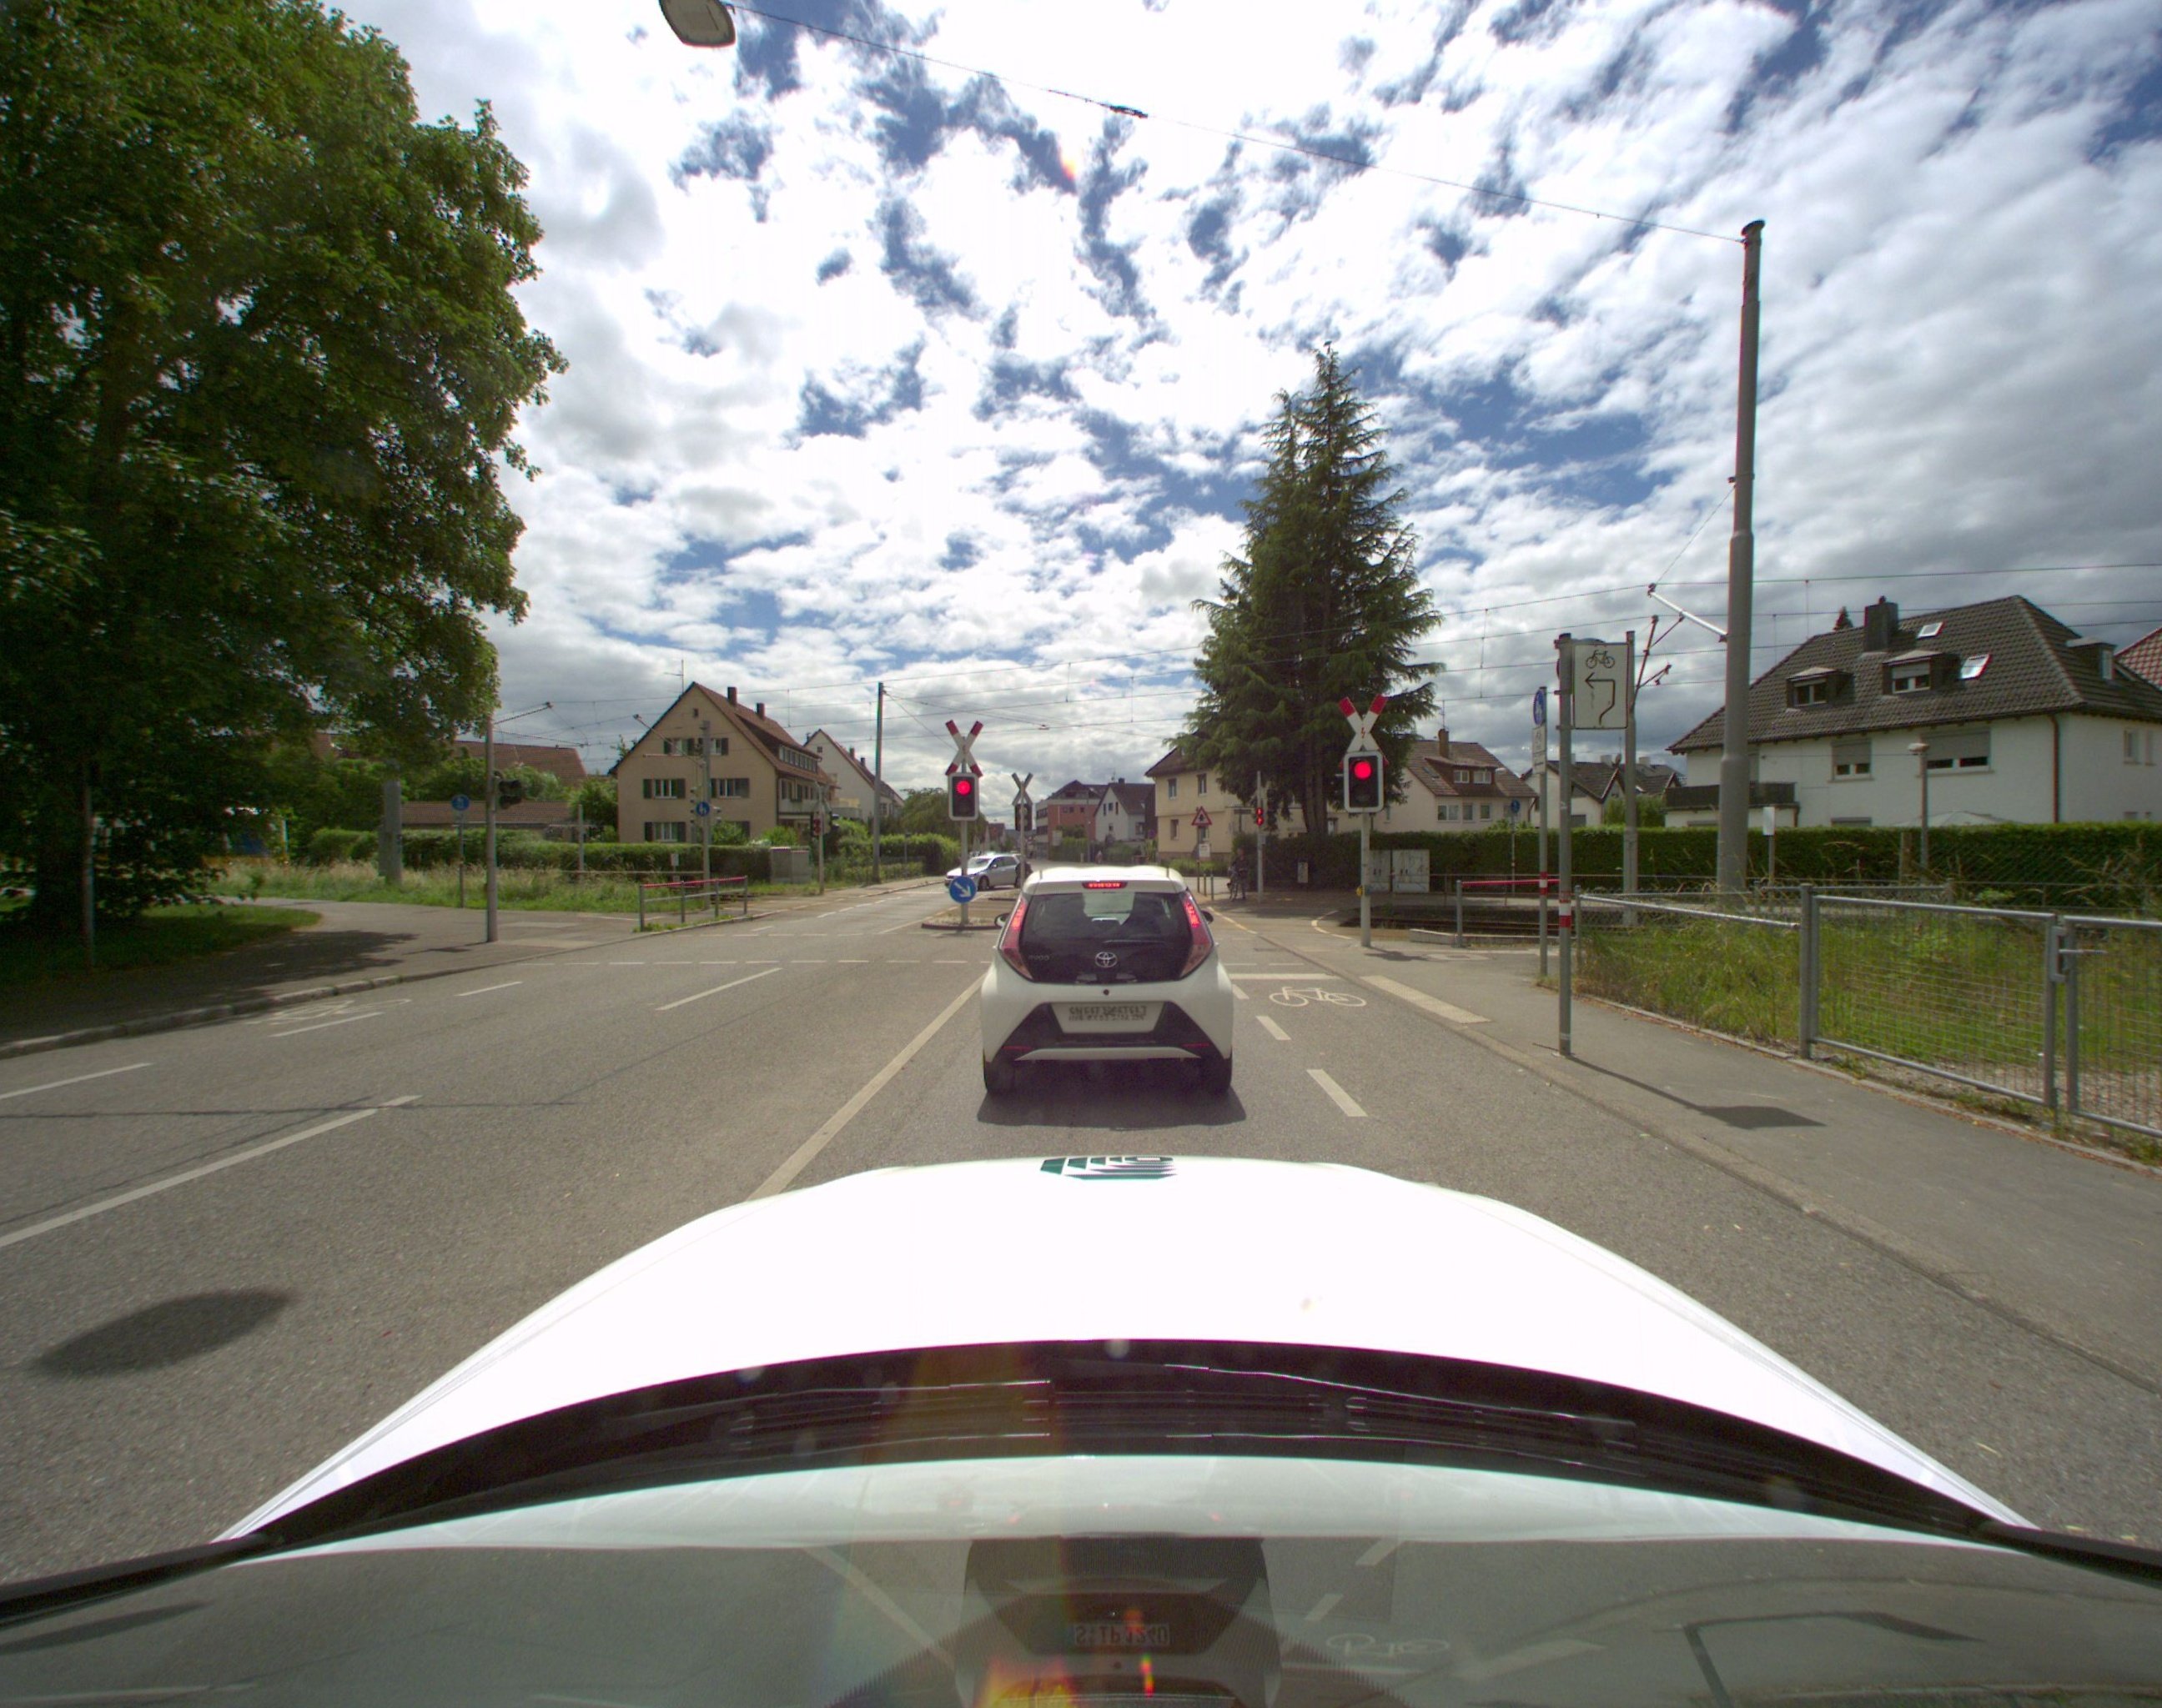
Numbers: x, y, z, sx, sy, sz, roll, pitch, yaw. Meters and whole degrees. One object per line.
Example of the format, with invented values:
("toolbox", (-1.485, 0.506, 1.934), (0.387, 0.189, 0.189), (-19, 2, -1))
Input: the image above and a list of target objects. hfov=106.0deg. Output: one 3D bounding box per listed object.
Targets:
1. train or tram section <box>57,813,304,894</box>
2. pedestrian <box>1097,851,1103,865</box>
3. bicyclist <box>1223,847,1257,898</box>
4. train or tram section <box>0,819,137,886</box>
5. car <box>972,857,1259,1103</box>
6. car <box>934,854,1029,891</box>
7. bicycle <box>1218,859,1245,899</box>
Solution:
("train or tram section", (-46.966, -0.067, 42.104), (18.885, 3.704, 2.936), (0, 1, 24))
("pedestrian", (2.163, 0.419, 92.185), (0.723, 1.576, 0.804), (0, 0, 2))
("bicyclist", (5.095, 0.586, 26.153), (0.839, 1.553, 0.755), (-3, 2, -4))
("train or tram section", (-64.146, -0.117, 49.923), (18.885, 3.704, 2.936), (0, 1, 24))
("car", (0.169, 0.760, 6.747), (1.716, 1.442, 3.706), (0, 0, -2))
("car", (-4.166, 0.746, 34.753), (1.887, 1.441, 4.124), (0, 0, 30))
("bicycle", (4.848, 0.792, 26.236), (0.456, 1.172, 1.477), (-3, 2, -4))
